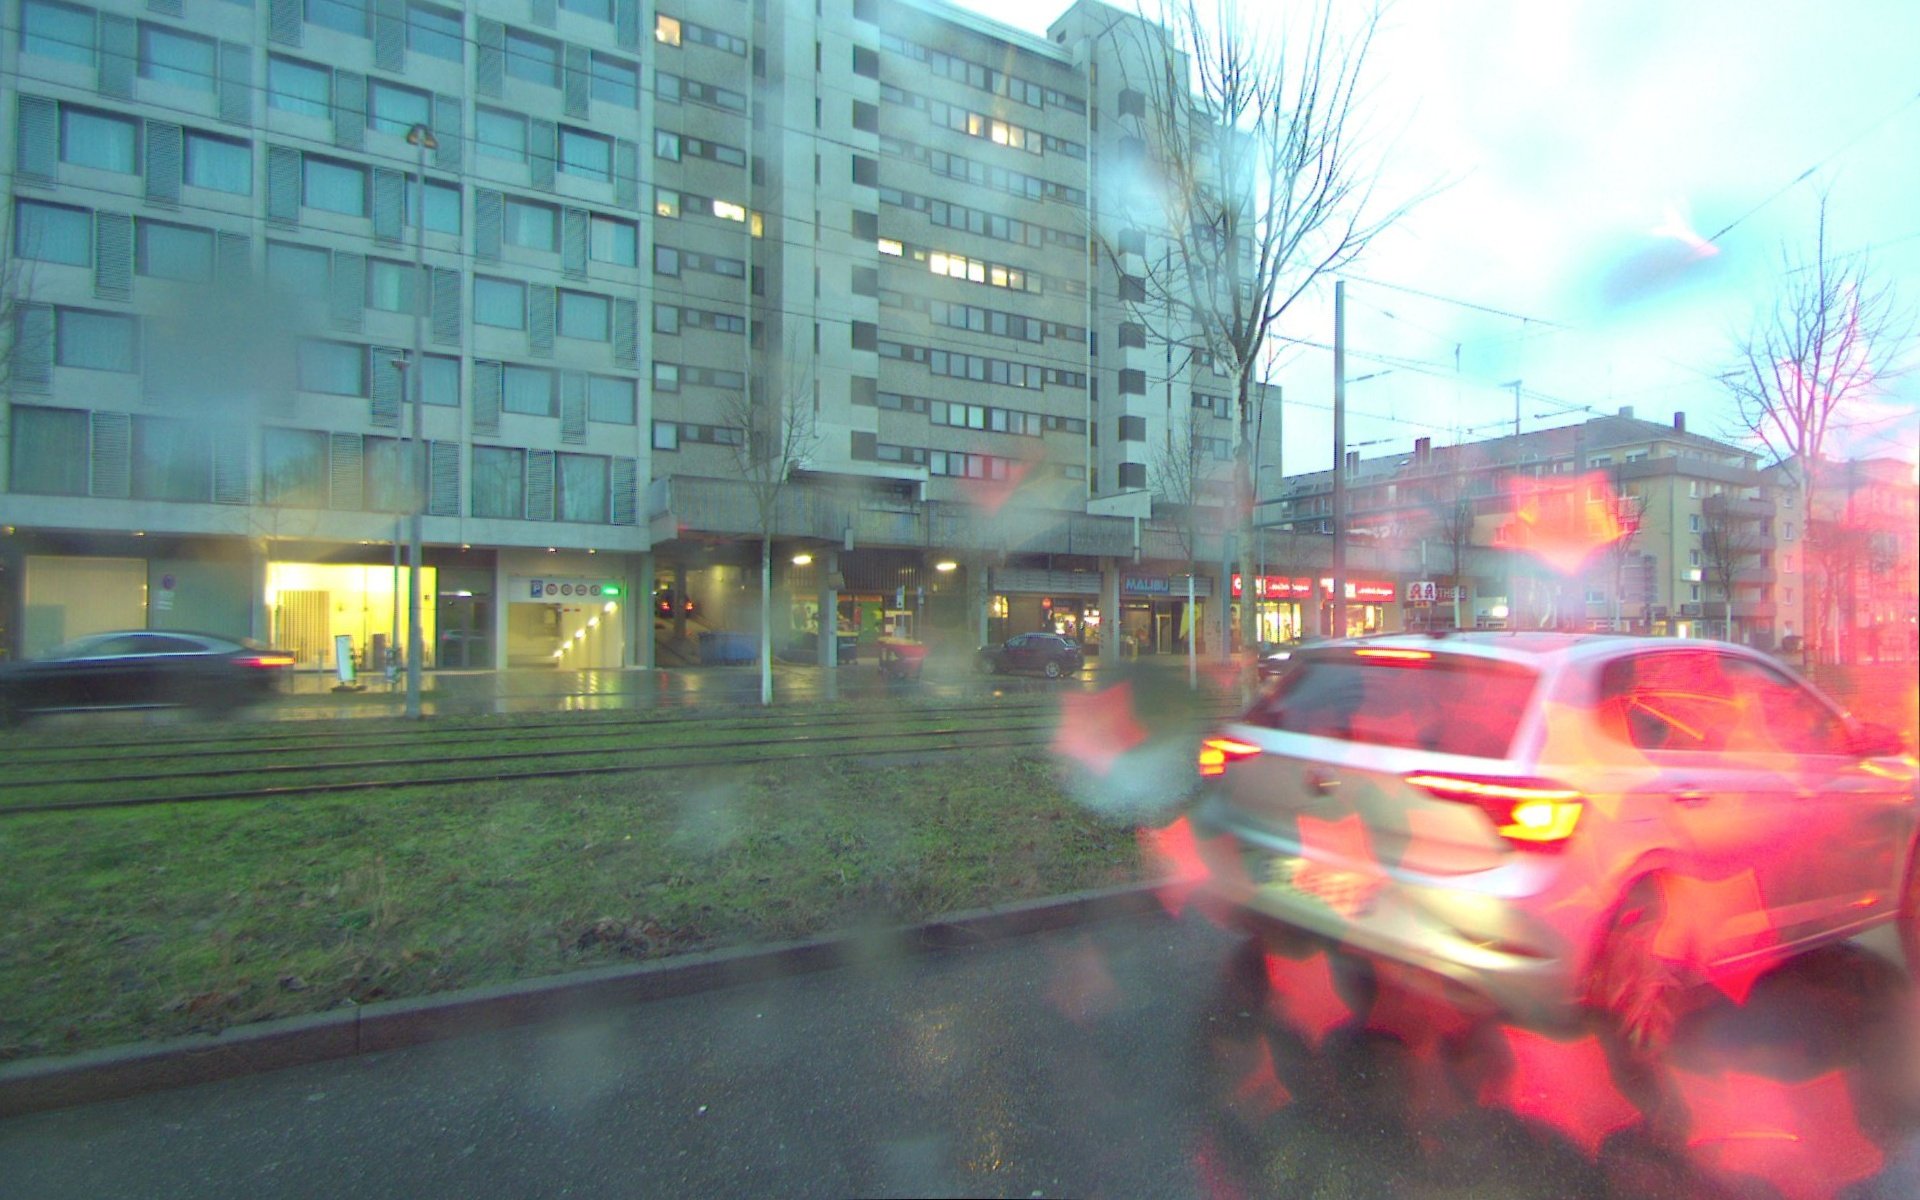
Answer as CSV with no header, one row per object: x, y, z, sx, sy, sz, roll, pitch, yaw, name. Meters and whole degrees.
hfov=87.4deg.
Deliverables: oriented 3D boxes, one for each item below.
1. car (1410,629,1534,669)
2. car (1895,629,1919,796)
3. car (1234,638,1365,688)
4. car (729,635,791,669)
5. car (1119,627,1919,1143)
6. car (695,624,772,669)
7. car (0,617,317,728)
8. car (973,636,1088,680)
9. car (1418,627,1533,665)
25.145,2.393,49.471,5.060,1.937,2.001,0,-2,3,car
10.544,1.019,9.135,4.562,1.424,1.837,2,-1,-31,car
11.972,2.167,35.319,4.526,1.655,1.887,1,-2,-30,car
-8.748,2.243,43.751,1.580,1.377,3.411,1,-2,-32,car
2.813,0.859,4.574,3.936,1.389,1.753,2,-1,-31,car
-9.103,1.815,40.126,1.709,1.718,4.336,1,-2,-32,car
-14.212,1.198,17.587,4.859,1.741,1.887,1,-2,-30,car
2.708,2.180,38.468,3.925,1.405,1.935,2,0,25,car
27.061,2.410,52.881,5.059,1.937,2.001,0,-2,15,car
